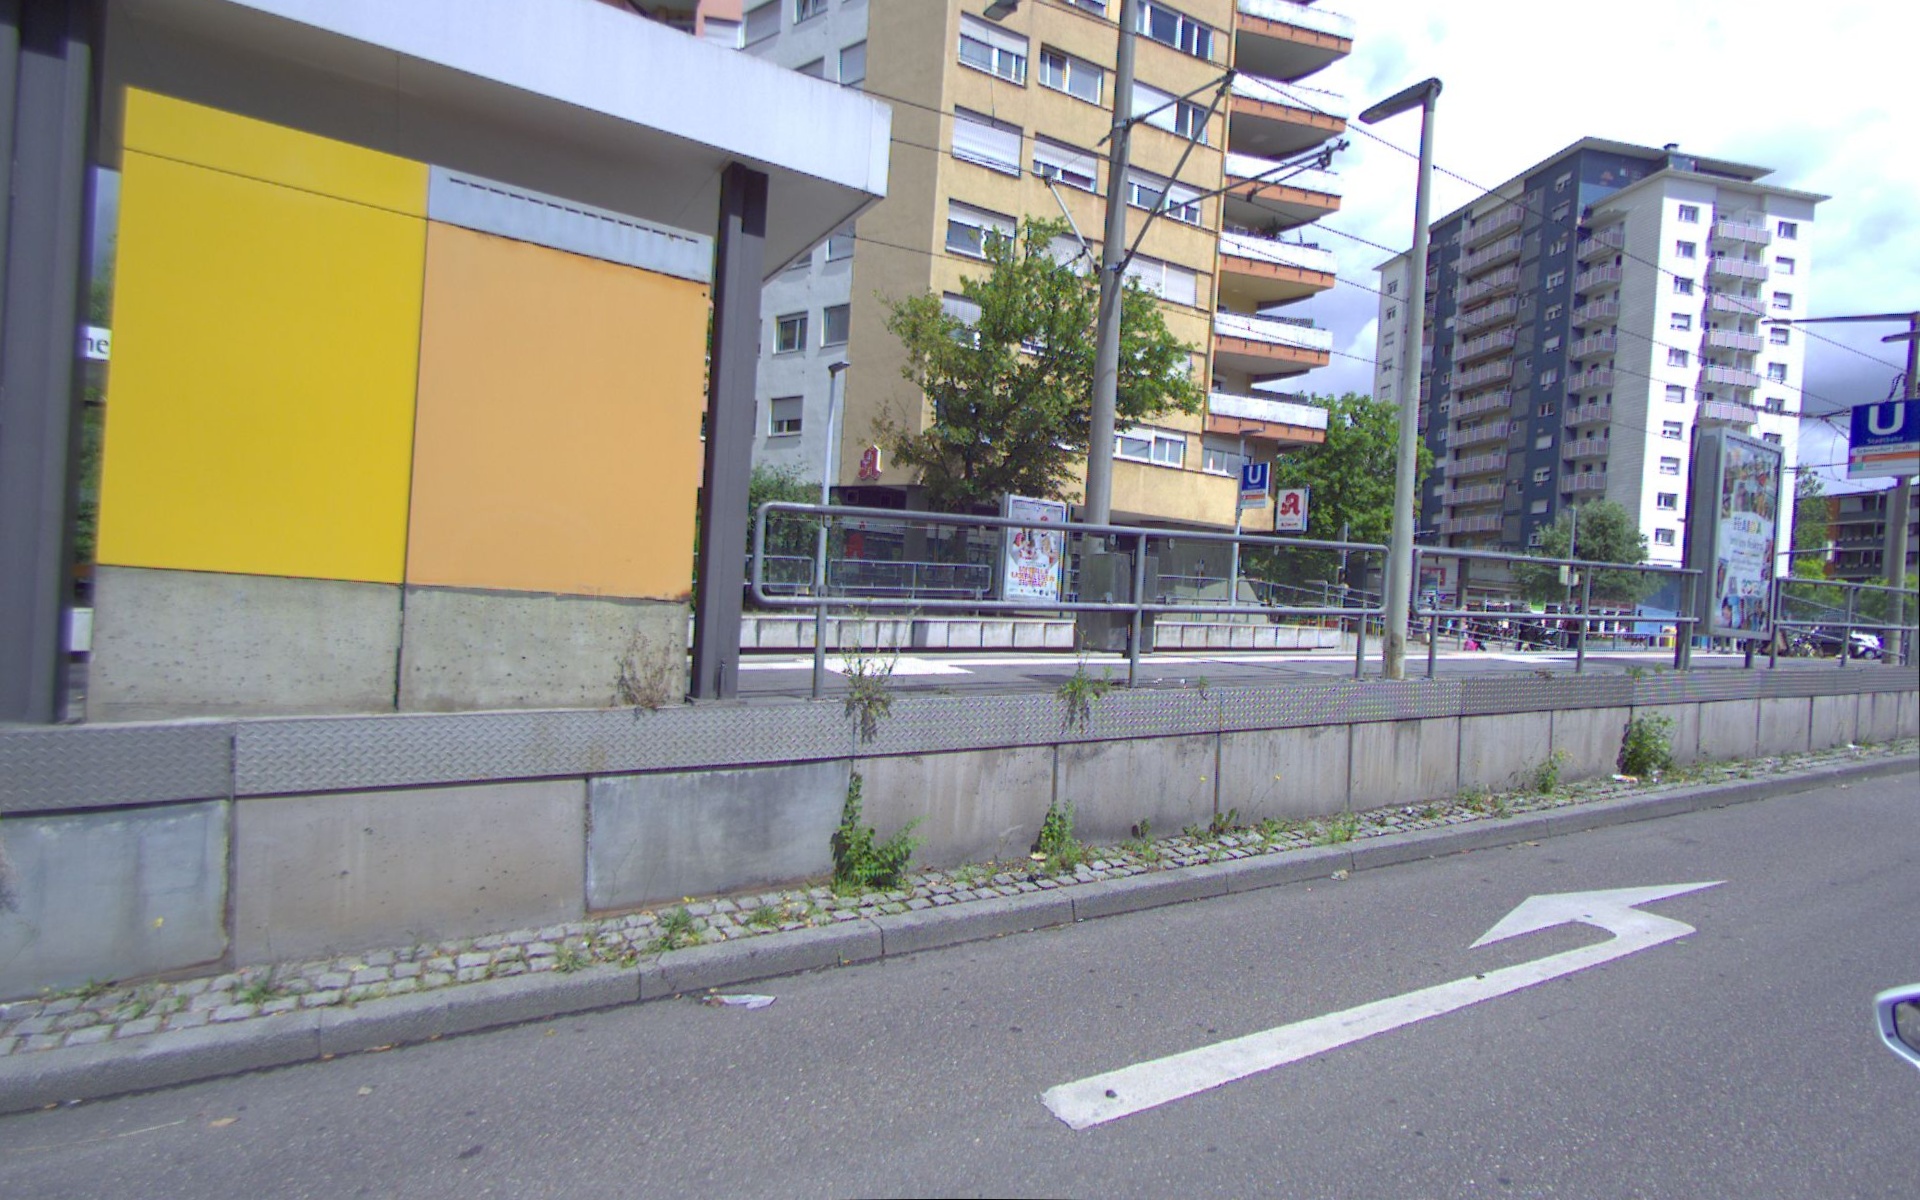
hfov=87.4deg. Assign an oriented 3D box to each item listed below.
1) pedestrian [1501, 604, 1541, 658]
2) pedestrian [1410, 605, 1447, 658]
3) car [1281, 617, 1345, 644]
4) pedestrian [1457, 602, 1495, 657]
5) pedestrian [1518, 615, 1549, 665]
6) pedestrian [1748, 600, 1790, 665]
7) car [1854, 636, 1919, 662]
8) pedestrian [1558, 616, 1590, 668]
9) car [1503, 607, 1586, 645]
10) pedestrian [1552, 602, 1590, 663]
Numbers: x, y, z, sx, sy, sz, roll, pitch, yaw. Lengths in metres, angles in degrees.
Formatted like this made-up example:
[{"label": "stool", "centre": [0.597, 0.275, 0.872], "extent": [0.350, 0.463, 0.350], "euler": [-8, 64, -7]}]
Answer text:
[{"label": "pedestrian", "centre": [17.108, 0.929, 30.632], "extent": [0.618, 1.599, 0.851], "euler": [1, 0, -38]}, {"label": "pedestrian", "centre": [15.531, 1.048, 33.290], "extent": [0.679, 1.719, 0.856], "euler": [1, 0, -20]}, {"label": "car", "centre": [23.239, 1.987, 66.267], "extent": [1.726, 1.702, 3.661], "euler": [2, -1, -33]}, {"label": "pedestrian", "centre": [15.547, 0.888, 30.283], "extent": [0.761, 1.604, 0.608], "euler": [1, 0, -11]}, {"label": "pedestrian", "centre": [15.926, 1.102, 27.887], "extent": [0.543, 1.360, 0.669], "euler": [2, 0, 12]}, {"label": "pedestrian", "centre": [21.132, 0.837, 26.235], "extent": [0.631, 1.654, 0.697], "euler": [1, -1, -32]}, {"label": "car", "centre": [59.900, 3.134, 64.403], "extent": [1.602, 1.482, 3.576], "euler": [2, 0, -38]}, {"label": "pedestrian", "centre": [16.413, 1.109, 26.875], "extent": [0.677, 1.360, 0.859], "euler": [1, 0, 30]}, {"label": "car", "centre": [31.735, 1.434, 54.568], "extent": [3.664, 2.040, 1.806], "euler": [-2, -2, 37]}, {"label": "pedestrian", "centre": [17.836, 0.940, 29.323], "extent": [0.814, 1.729, 0.679], "euler": [2, 0, 40]}]
